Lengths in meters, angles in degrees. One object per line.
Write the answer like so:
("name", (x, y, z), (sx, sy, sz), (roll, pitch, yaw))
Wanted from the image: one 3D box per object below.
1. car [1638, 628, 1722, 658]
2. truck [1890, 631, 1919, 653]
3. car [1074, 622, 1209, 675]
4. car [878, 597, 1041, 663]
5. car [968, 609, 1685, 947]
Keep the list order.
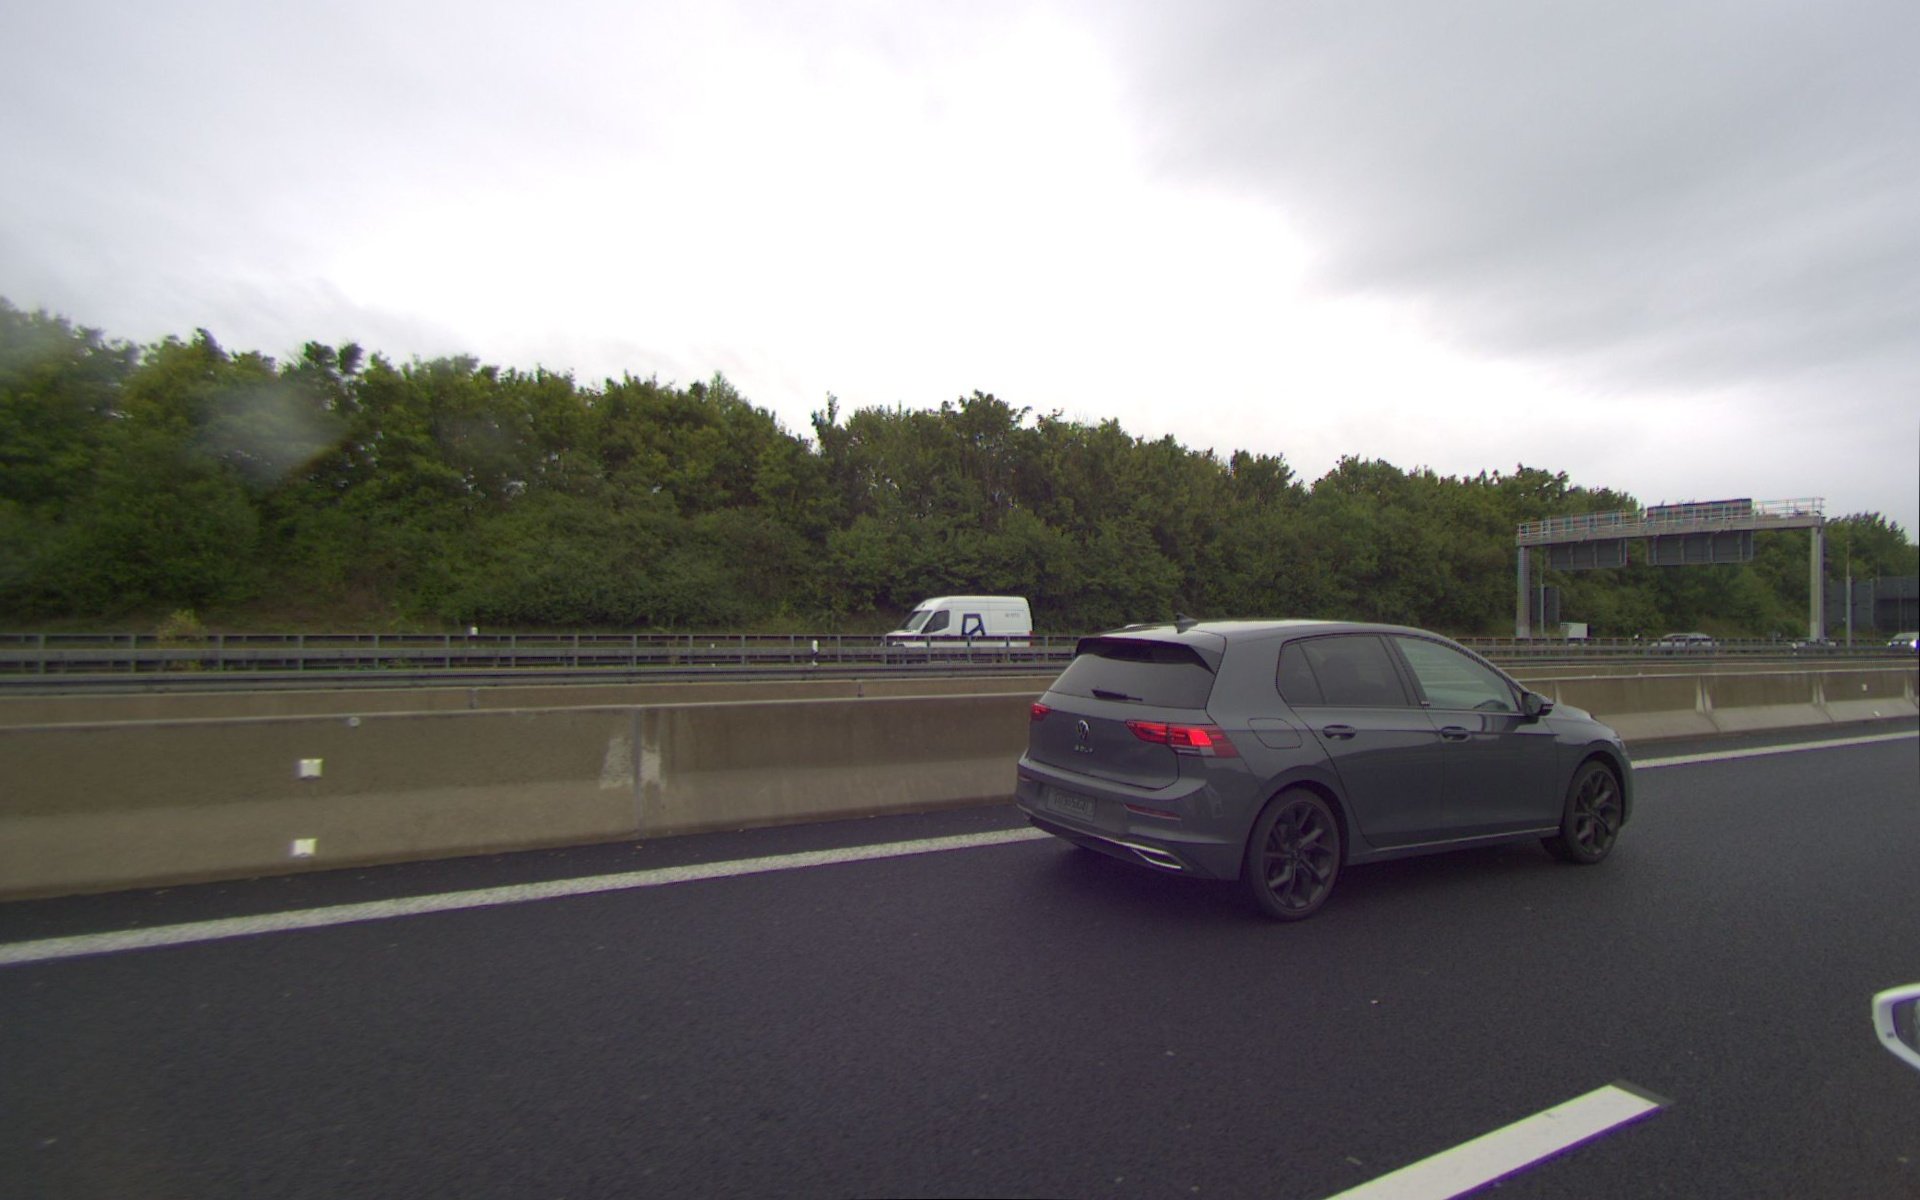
("car", (40.039, 2.369, 55.836), (4.631, 1.558, 1.985), (1, -1, -29))
("truck", (67.351, 2.965, 70.550), (4.423, 1.515, 1.982), (2, -1, -33))
("car", (6.453, 1.698, 35.613), (4.530, 1.760, 1.984), (1, -1, -31))
("car", (0.024, 1.080, 36.176), (5.648, 2.243, 1.984), (1, -1, -31))
("car", (2.370, 0.834, 6.232), (4.315, 1.444, 1.822), (2, 0, -30))
